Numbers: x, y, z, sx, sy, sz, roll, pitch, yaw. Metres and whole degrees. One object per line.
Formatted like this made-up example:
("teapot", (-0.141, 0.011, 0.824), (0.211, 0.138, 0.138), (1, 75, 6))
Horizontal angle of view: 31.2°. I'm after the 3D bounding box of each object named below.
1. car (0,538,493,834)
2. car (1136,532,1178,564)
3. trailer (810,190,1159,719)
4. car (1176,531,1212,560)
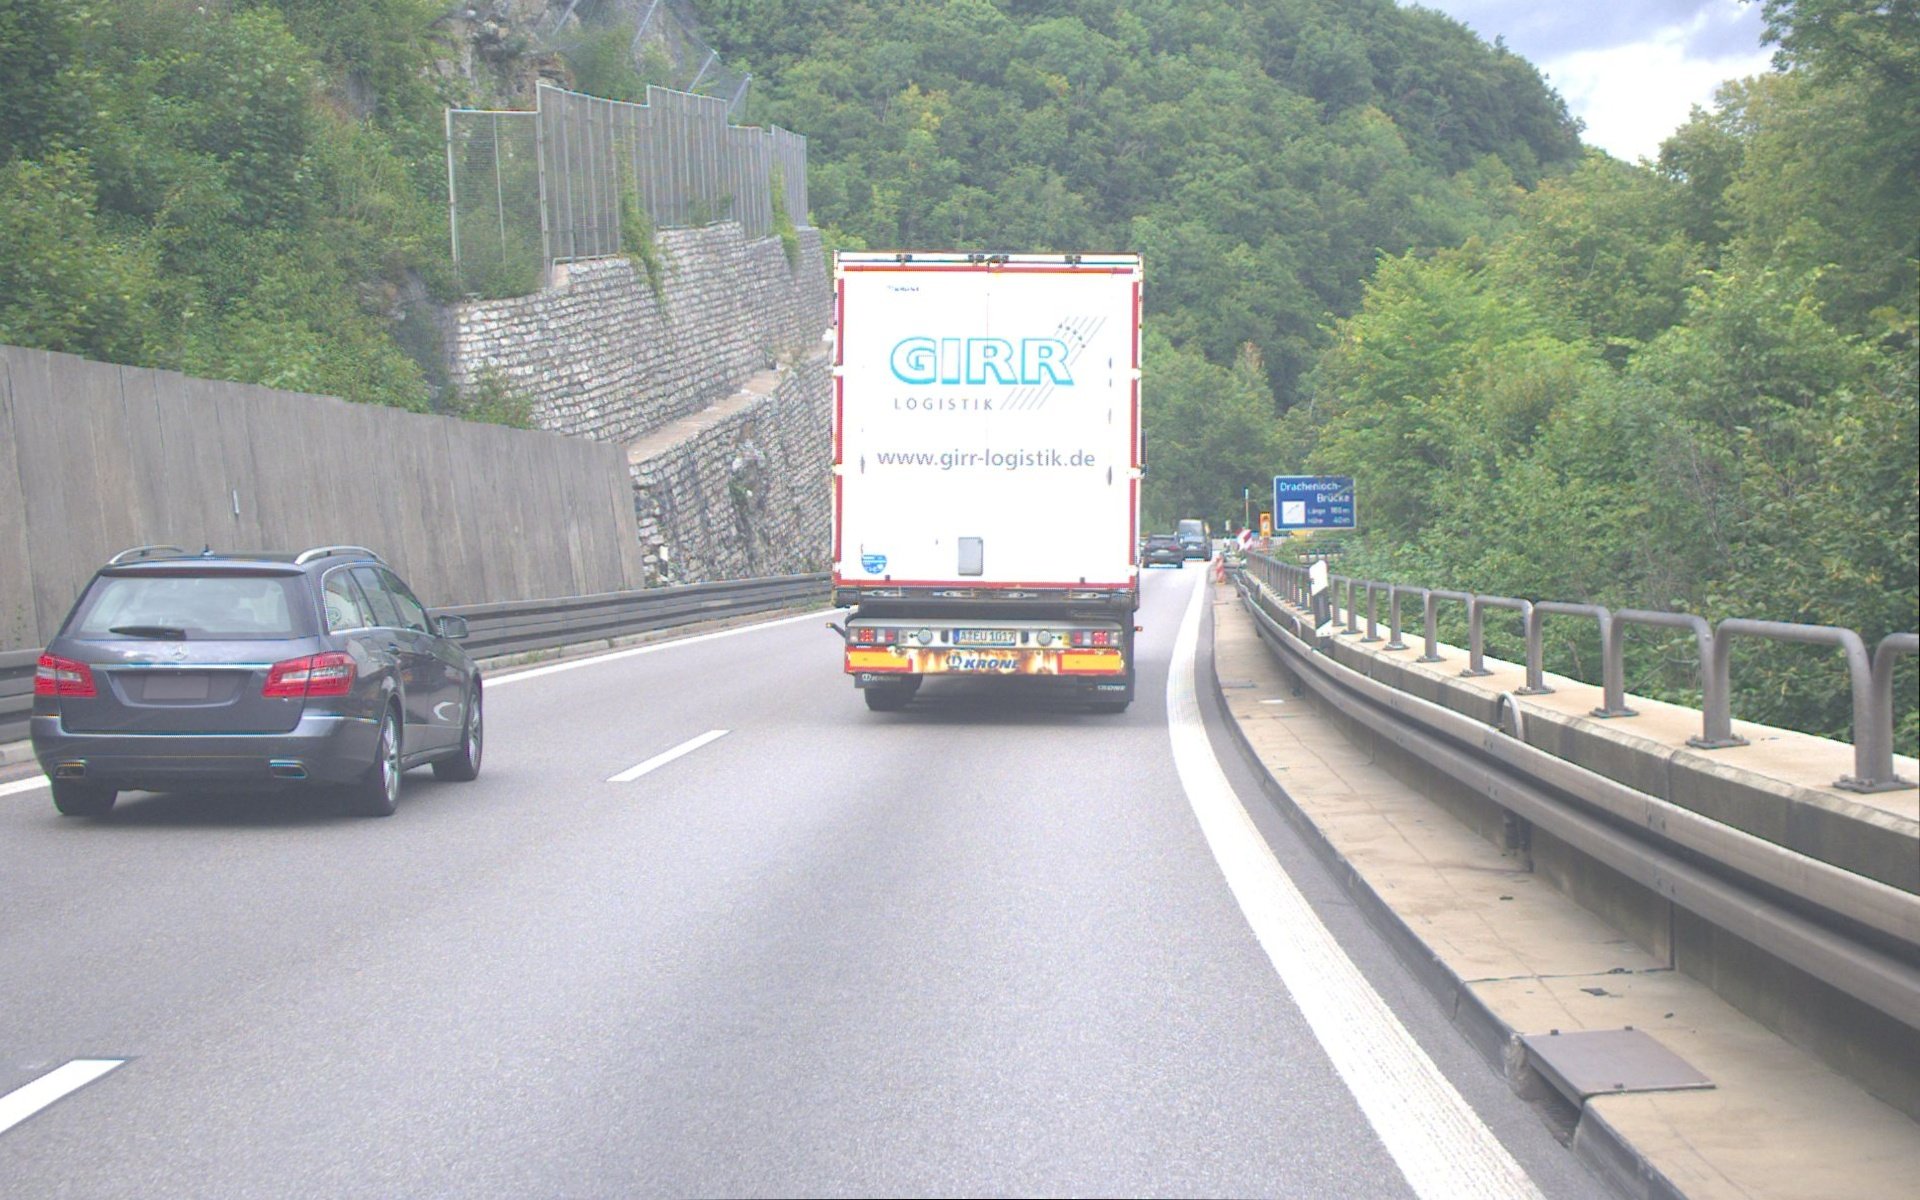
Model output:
("car", (-3.977, 0.418, 19.827), (1.883, 1.505, 4.419), (0, 1, 1))
("car", (9.775, -2.589, 170.974), (1.994, 1.567, 4.000), (0, 1, 2))
("trailer", (0.450, -1.249, 34.040), (2.813, 4.288, 12.244), (0, 1, 2))
("car", (14.682, -3.403, 215.665), (1.994, 1.758, 3.999), (0, 1, 8))
